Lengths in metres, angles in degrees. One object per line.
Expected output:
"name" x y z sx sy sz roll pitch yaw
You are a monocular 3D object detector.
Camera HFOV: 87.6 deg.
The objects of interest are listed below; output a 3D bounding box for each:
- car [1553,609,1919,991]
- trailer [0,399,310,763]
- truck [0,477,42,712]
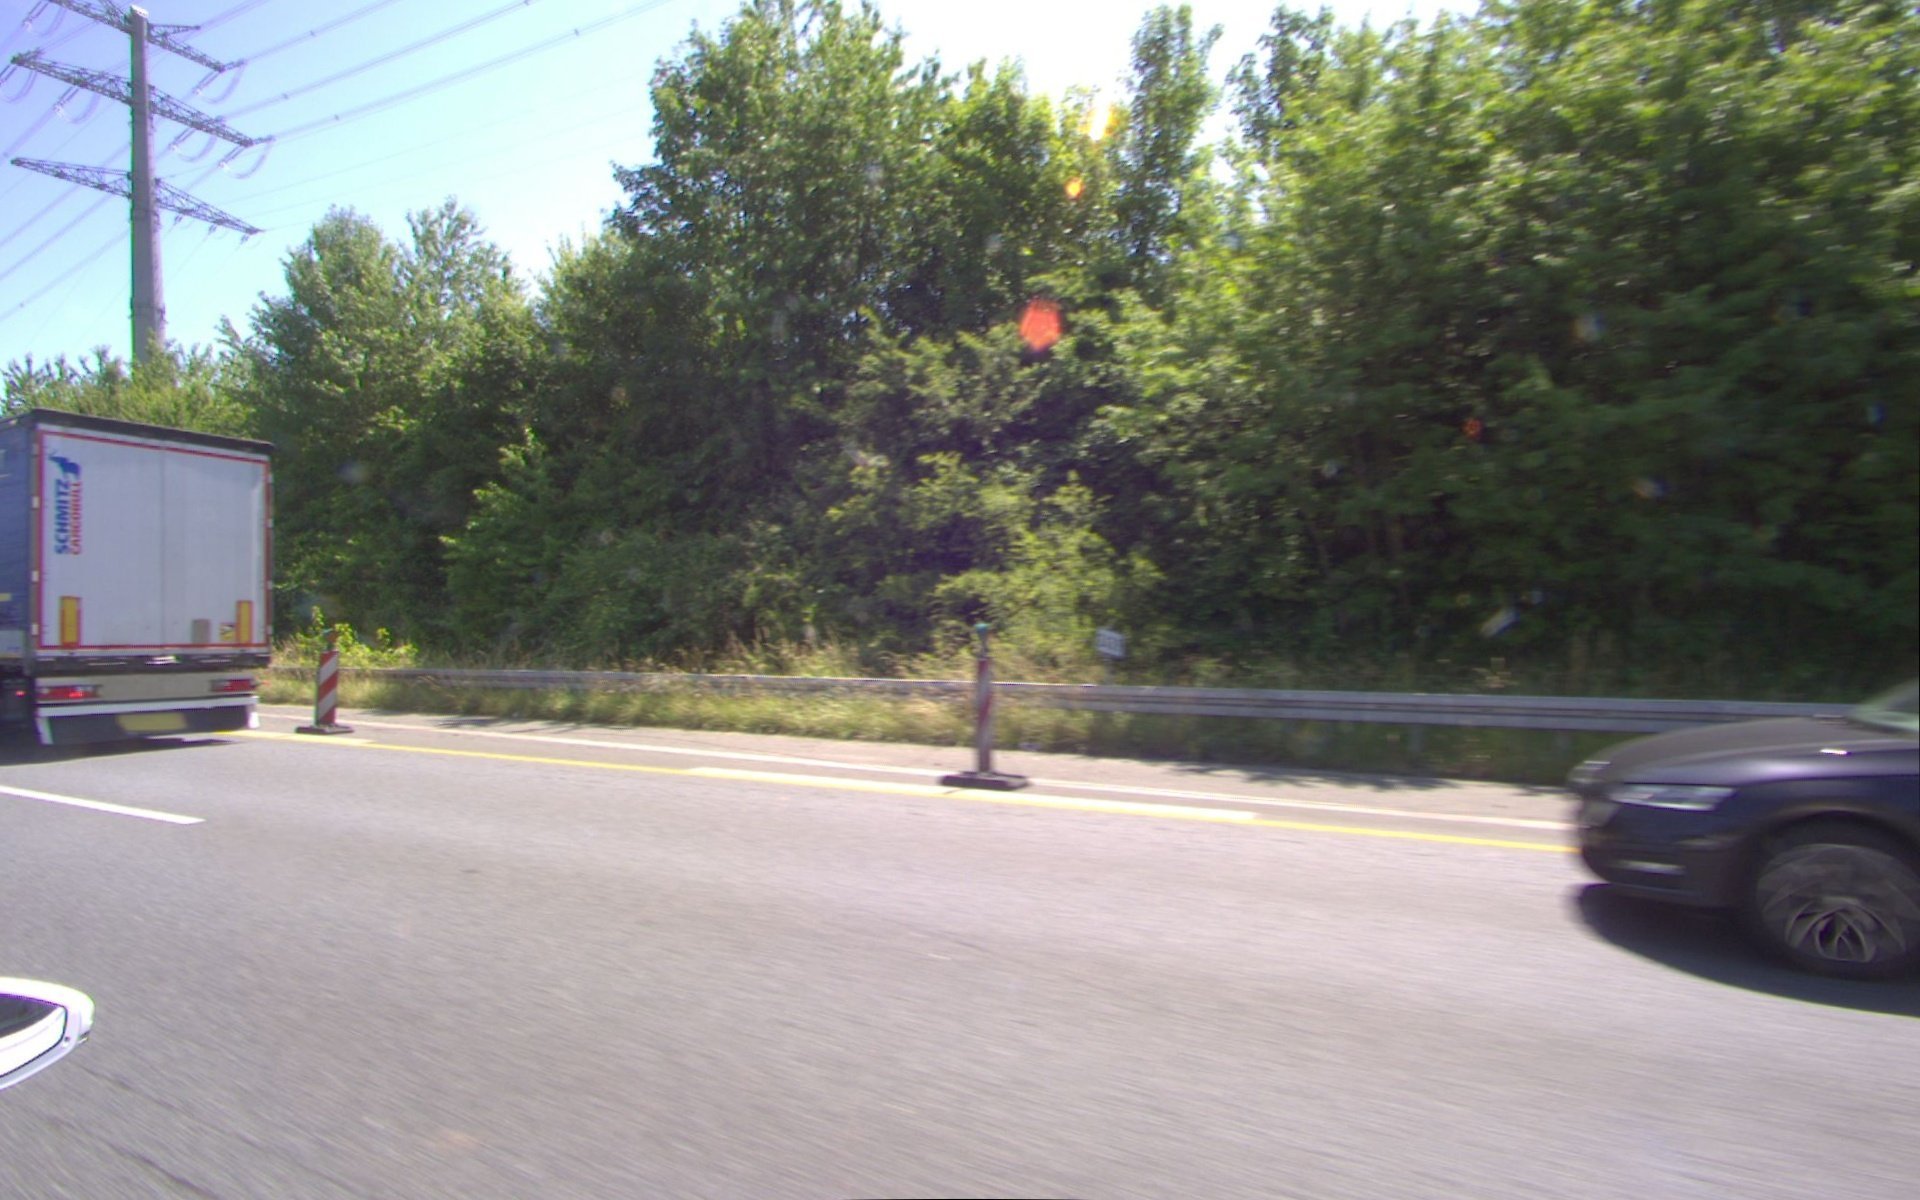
"car" 5.140 0.798 4.252 4.394 1.508 1.778 -1 -2 28
"trailer" -14.735 -0.108 15.313 11.311 4.095 3.063 -1 -1 29
"truck" -20.653 -0.058 18.606 7.676 4.140 3.022 -1 -1 29
